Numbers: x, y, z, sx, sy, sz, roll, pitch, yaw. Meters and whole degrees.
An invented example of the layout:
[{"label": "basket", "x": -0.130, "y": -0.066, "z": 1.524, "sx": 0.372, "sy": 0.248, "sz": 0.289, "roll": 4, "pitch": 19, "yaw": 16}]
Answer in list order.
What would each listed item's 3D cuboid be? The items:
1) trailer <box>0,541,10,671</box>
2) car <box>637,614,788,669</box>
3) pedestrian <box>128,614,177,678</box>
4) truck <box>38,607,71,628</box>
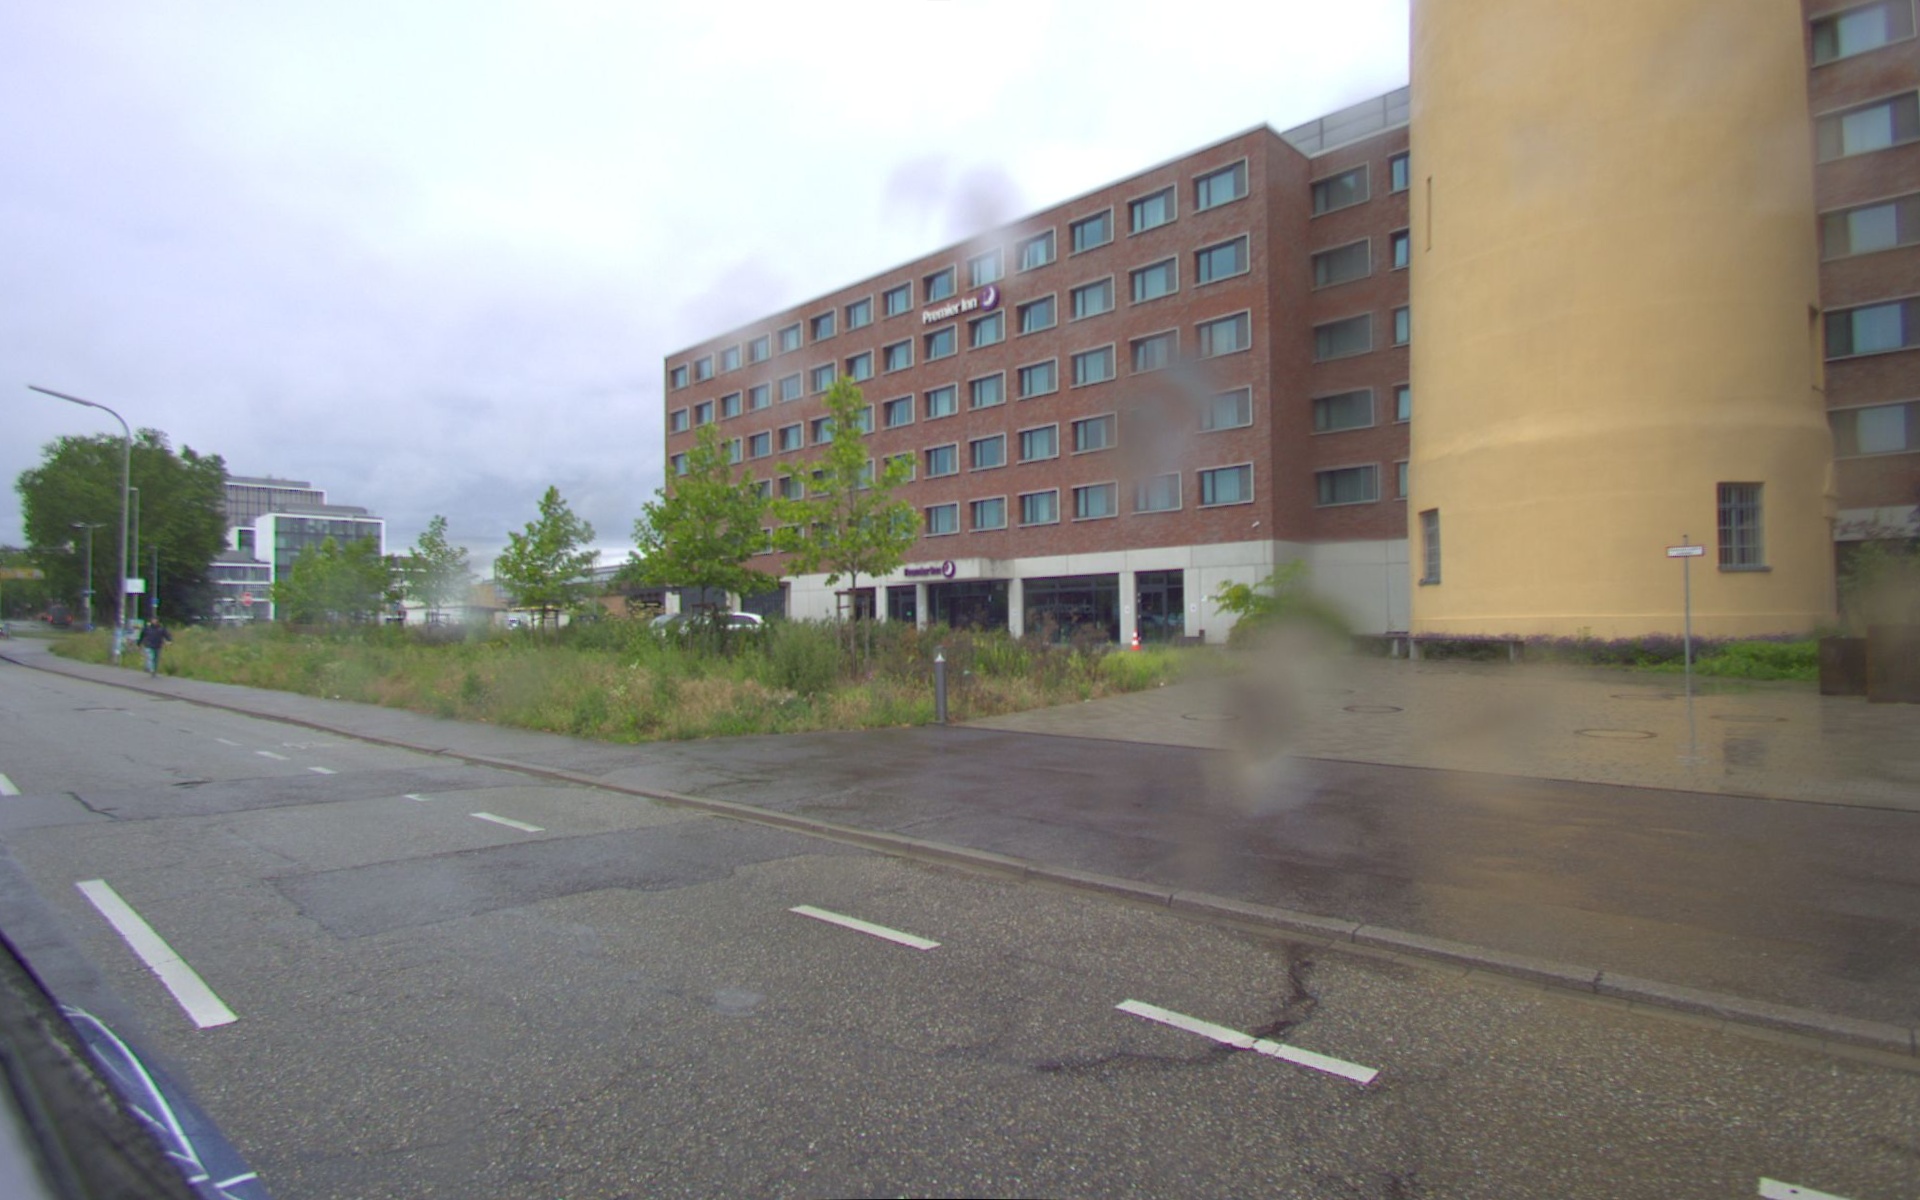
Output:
[{"label": "trailer", "x": -40.856, "y": 0.325, "z": 40.086, "sx": 13.725, "sy": 4.689, "sz": 3.260, "roll": -2, "pitch": -2, "yaw": 41}, {"label": "car", "x": -7.953, "y": 1.314, "z": 32.818, "sx": 1.998, "sy": 1.653, "sz": 4.477, "roll": -1, "pitch": -2, "yaw": 39}, {"label": "pedestrian", "x": -22.653, "y": 1.274, "z": 28.382, "sx": 1.026, "sy": 1.731, "sz": 0.899, "roll": -1, "pitch": -2, "yaw": 42}, {"label": "truck", "x": -113.081, "y": 2.220, "z": 126.345, "sx": 6.973, "sy": 2.639, "sz": 2.063, "roll": -1, "pitch": -2, "yaw": 41}]
